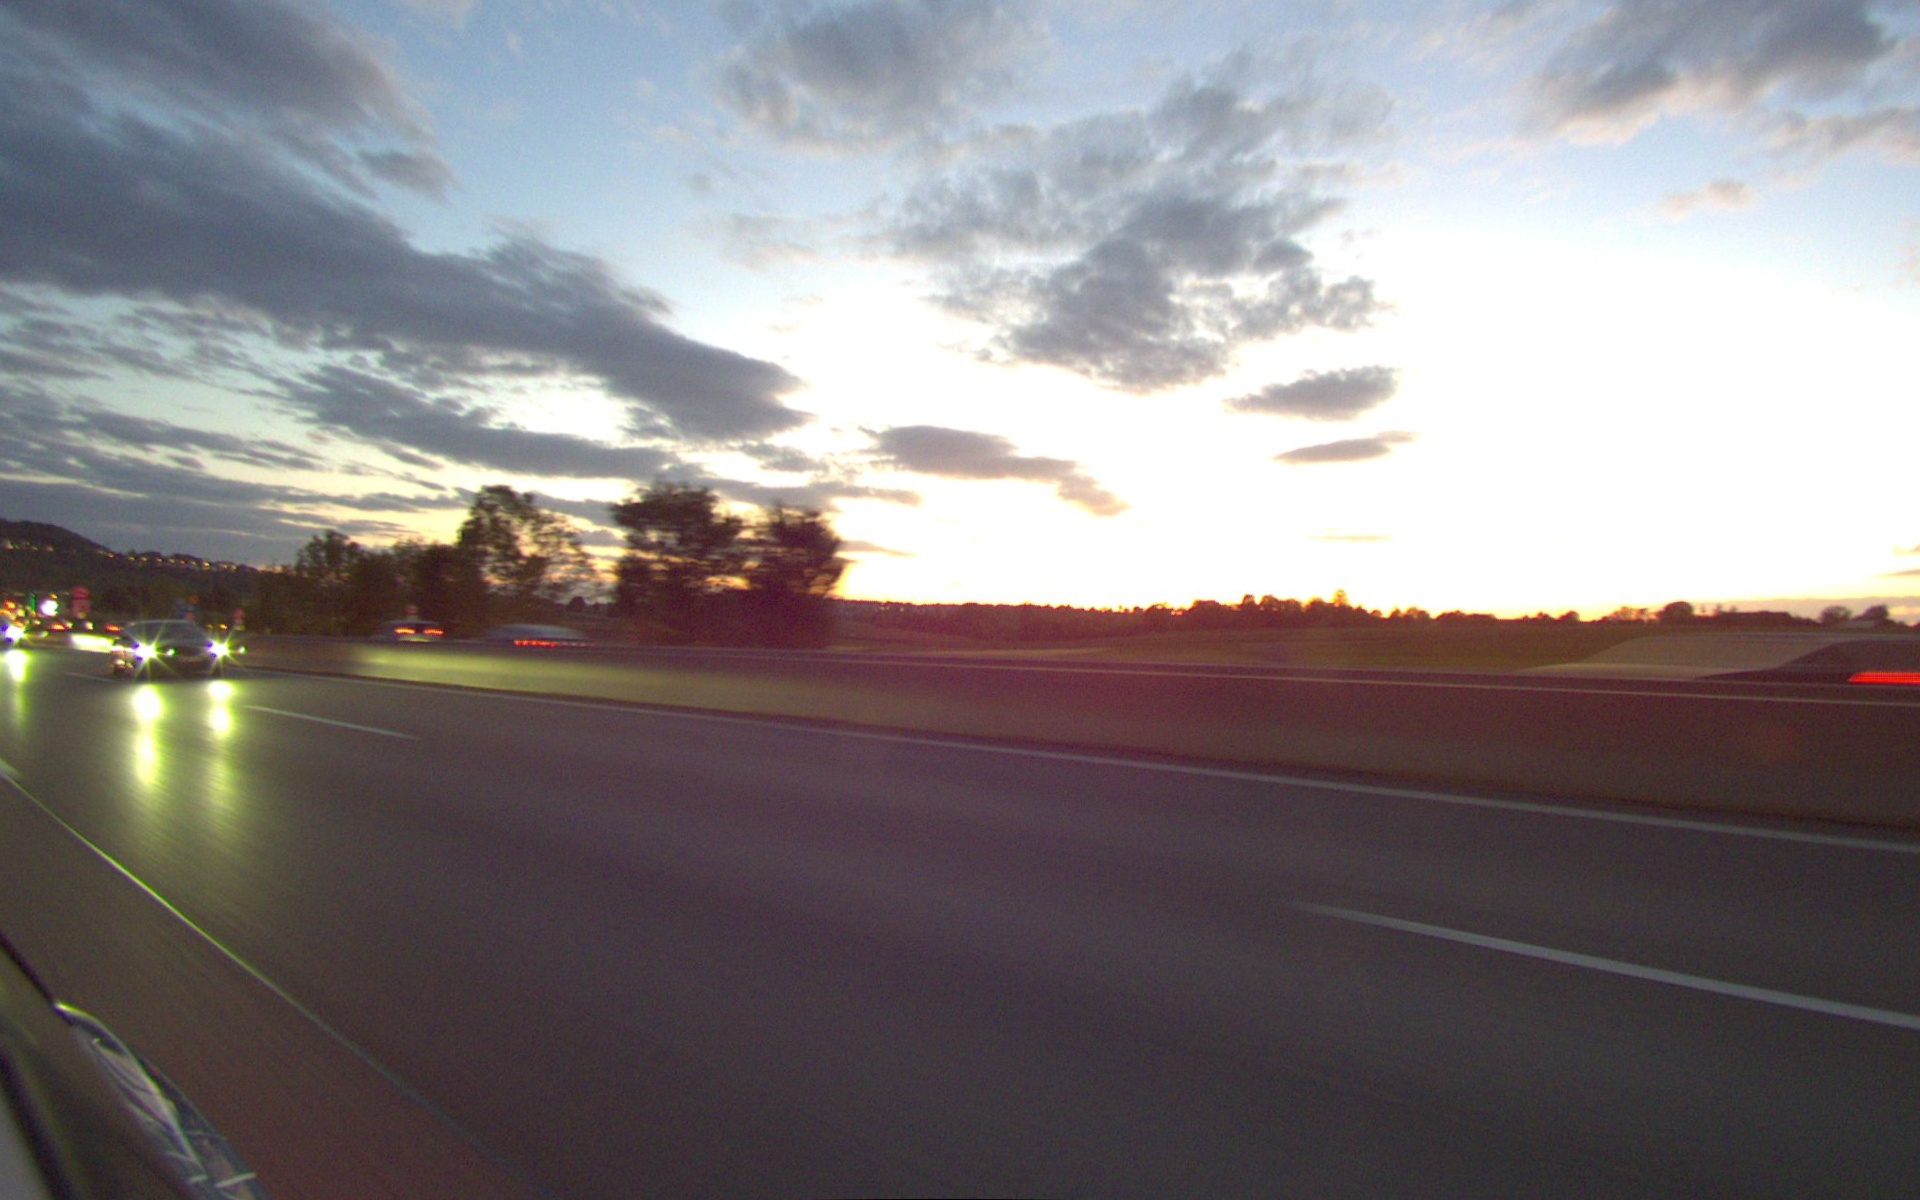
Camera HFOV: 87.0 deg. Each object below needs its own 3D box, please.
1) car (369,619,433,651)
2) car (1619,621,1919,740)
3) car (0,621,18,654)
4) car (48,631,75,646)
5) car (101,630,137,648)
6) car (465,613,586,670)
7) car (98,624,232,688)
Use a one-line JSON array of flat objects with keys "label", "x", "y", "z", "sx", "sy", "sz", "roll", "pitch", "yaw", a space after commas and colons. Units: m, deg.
[{"label": "car", "x": -31.216, "y": 1.923, "z": 56.458, "sx": 4.792, "sy": 1.656, "sz": 1.643, "roll": -1, "pitch": 0, "yaw": 41}, {"label": "car", "x": 11.995, "y": 1.034, "z": 13.945, "sx": 4.657, "sy": 1.423, "sz": 1.973, "roll": -1, "pitch": 0, "yaw": 41}, {"label": "car", "x": -51.241, "y": 1.973, "z": 53.358, "sx": 4.853, "sy": 1.660, "sz": 1.796, "roll": -1, "pitch": 0, "yaw": 41}, {"label": "car", "x": -99.814, "y": 4.234, "z": 112.369, "sx": 3.998, "sy": 1.558, "sz": 1.714, "roll": -1, "pitch": 0, "yaw": 41}, {"label": "car", "x": -76.179, "y": 3.500, "z": 91.625, "sx": 4.272, "sy": 1.465, "sz": 1.841, "roll": -1, "pitch": 0, "yaw": 41}, {"label": "car", "x": -13.755, "y": 1.255, "z": 31.939, "sx": 4.624, "sy": 1.629, "sz": 1.681, "roll": -1, "pitch": 0, "yaw": 41}, {"label": "car", "x": -21.100, "y": 1.395, "z": 26.762, "sx": 5.391, "sy": 1.448, "sz": 1.796, "roll": -1, "pitch": 0, "yaw": 41}]
